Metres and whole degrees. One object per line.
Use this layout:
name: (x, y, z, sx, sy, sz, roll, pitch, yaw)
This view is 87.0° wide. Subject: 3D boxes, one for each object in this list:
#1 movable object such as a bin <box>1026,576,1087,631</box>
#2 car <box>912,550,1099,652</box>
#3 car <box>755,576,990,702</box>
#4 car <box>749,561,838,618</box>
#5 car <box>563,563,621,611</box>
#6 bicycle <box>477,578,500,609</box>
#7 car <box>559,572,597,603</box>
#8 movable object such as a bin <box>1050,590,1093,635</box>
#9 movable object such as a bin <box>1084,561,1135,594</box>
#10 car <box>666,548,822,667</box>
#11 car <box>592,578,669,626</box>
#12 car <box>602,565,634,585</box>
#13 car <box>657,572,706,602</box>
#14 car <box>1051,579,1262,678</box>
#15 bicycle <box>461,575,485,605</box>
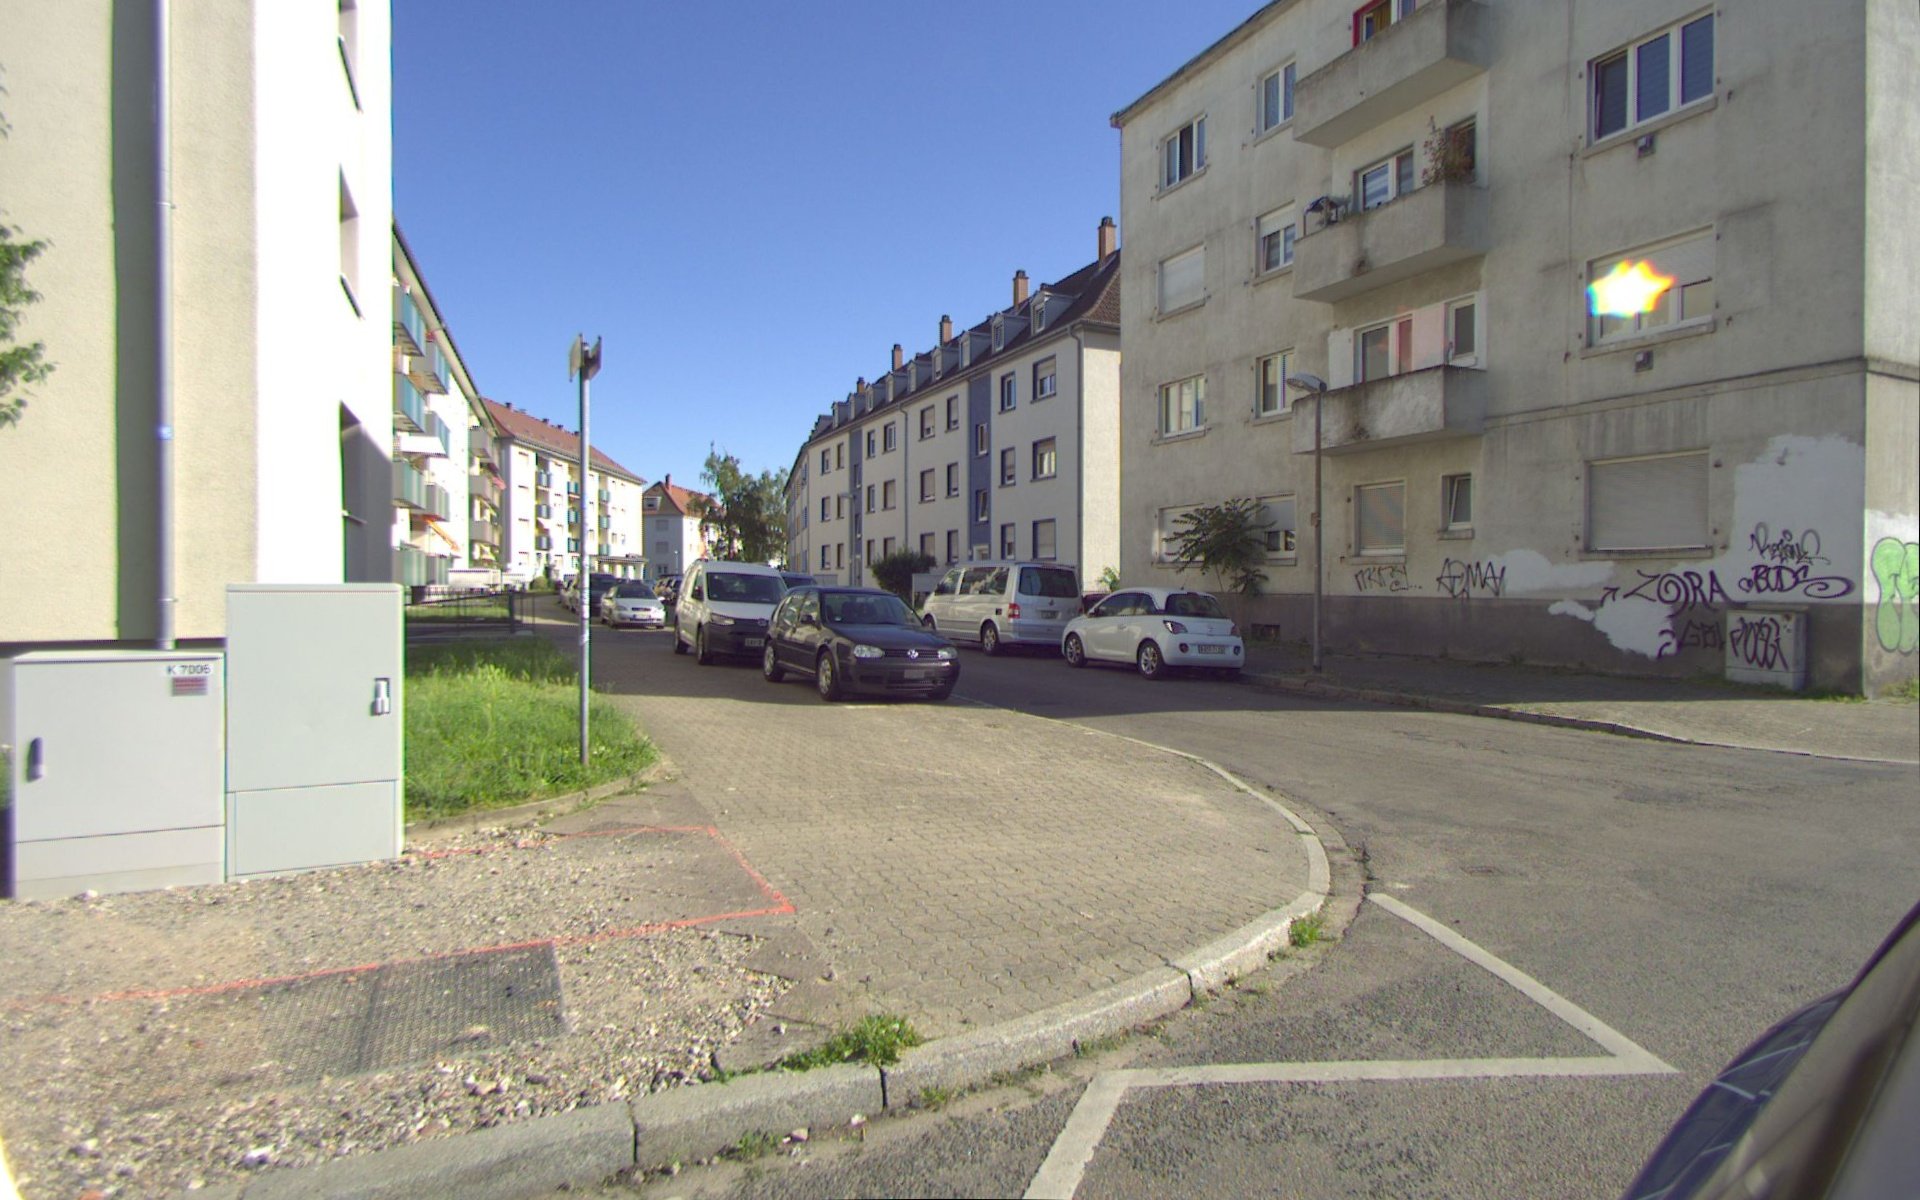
movable object such as a bin: (2.547, 0.076, 26.688, 1.234, 1.393, 1.046, -2, 2, -26)
car: (0.836, -0.016, 22.134, 1.917, 1.957, 4.864, 1, 1, -27)
car: (-1.355, 0.433, 13.737, 1.766, 1.433, 4.056, 2, 0, -27)
car: (-6.044, -0.394, 36.222, 1.768, 1.853, 4.958, 2, 0, -26)
car: (-15.587, -0.578, 42.725, 1.728, 1.863, 4.928, 1, 1, -26)
bicycle: (-17.449, -0.254, 37.506, 0.496, 1.106, 2.079, -2, 2, -18)
car: (-19.689, -0.654, 52.093, 1.634, 1.467, 3.867, 1, 1, -24)
movable object such as a bin: (2.808, 0.296, 25.499, 0.759, 1.092, 0.817, -1, 2, -26)
movable object such as a bin: (4.718, -0.705, 32.004, 1.110, 1.012, 1.206, 0, 2, -26)
car: (-4.053, 0.092, 18.416, 1.766, 1.869, 4.548, 2, 0, -25)
car: (-10.908, 0.031, 33.300, 1.712, 1.424, 4.321, 1, 1, -27)
car: (-29.804, -2.170, 88.258, 1.723, 1.655, 4.411, 1, 1, -6)
car: (-15.207, -0.714, 55.075, 1.866, 1.477, 4.405, 3, 0, -24)
car: (3.220, 0.417, 17.306, 1.657, 1.477, 3.728, 1, 1, -25)
bicycle: (-17.984, -0.383, 37.374, 0.496, 1.057, 2.079, -2, 2, -18)
